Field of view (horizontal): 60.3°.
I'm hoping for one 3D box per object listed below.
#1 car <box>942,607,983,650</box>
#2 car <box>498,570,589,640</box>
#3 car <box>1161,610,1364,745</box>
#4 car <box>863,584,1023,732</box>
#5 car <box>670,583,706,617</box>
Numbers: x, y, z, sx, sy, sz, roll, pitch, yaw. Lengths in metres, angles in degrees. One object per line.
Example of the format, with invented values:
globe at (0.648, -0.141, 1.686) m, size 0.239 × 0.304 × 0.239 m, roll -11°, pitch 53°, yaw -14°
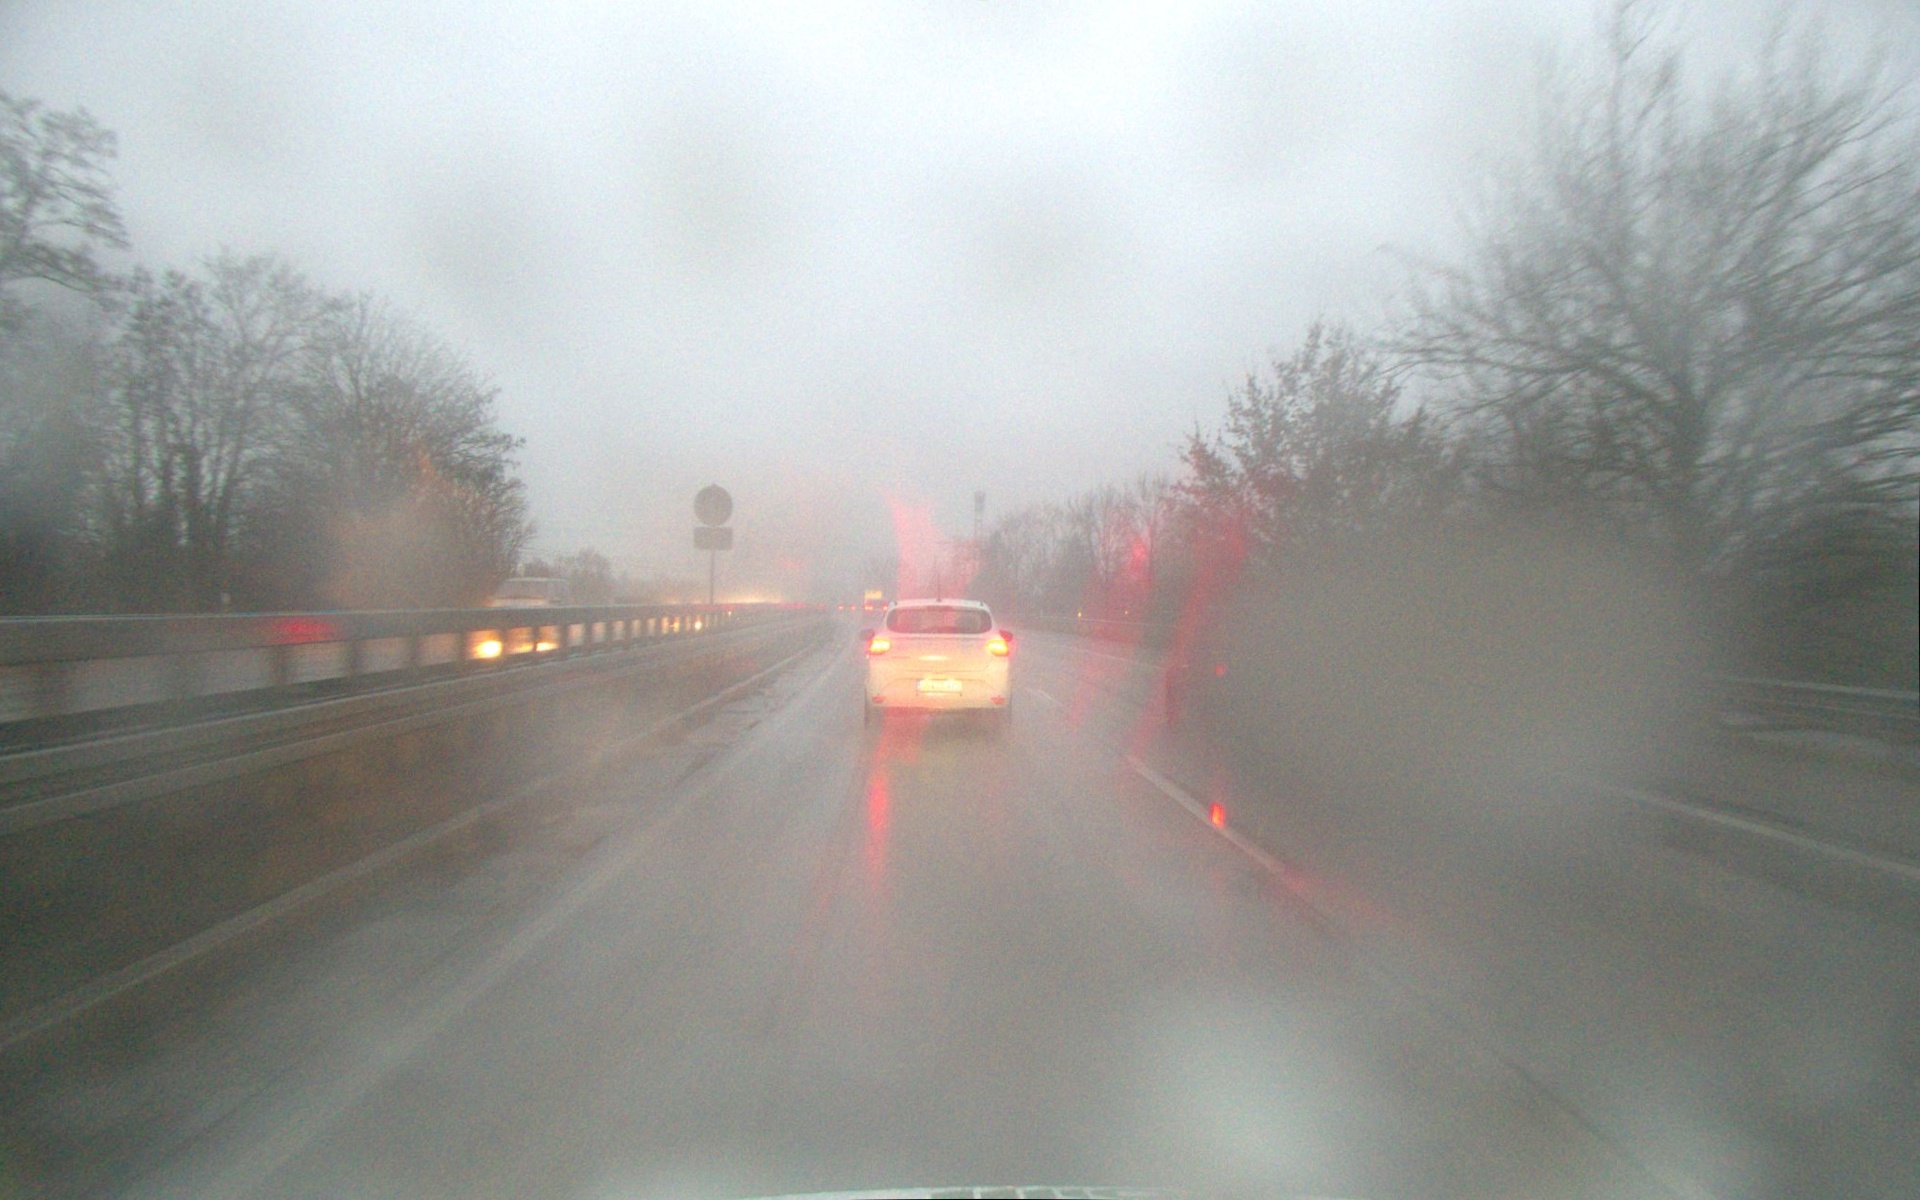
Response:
car at (0.106, 1.484, 84.140) m, size 1.836 × 1.936 × 3.999 m, roll 6°, pitch -1°, yaw -1°
car at (-12.797, 0.181, 51.121) m, size 1.897 × 2.007 × 4.533 m, roll 2°, pitch -1°, yaw -4°
car at (3.709, 0.897, 20.959) m, size 1.808 × 1.479 × 4.148 m, roll 1°, pitch 0°, yaw 0°
car at (-0.188, 0.656, 20.724) m, size 1.808 × 1.664 × 3.767 m, roll 1°, pitch 0°, yaw 0°
car at (-15.601, 0.014, 95.027) m, size 1.711 × 1.865 × 4.131 m, roll 2°, pitch 0°, yaw -5°
